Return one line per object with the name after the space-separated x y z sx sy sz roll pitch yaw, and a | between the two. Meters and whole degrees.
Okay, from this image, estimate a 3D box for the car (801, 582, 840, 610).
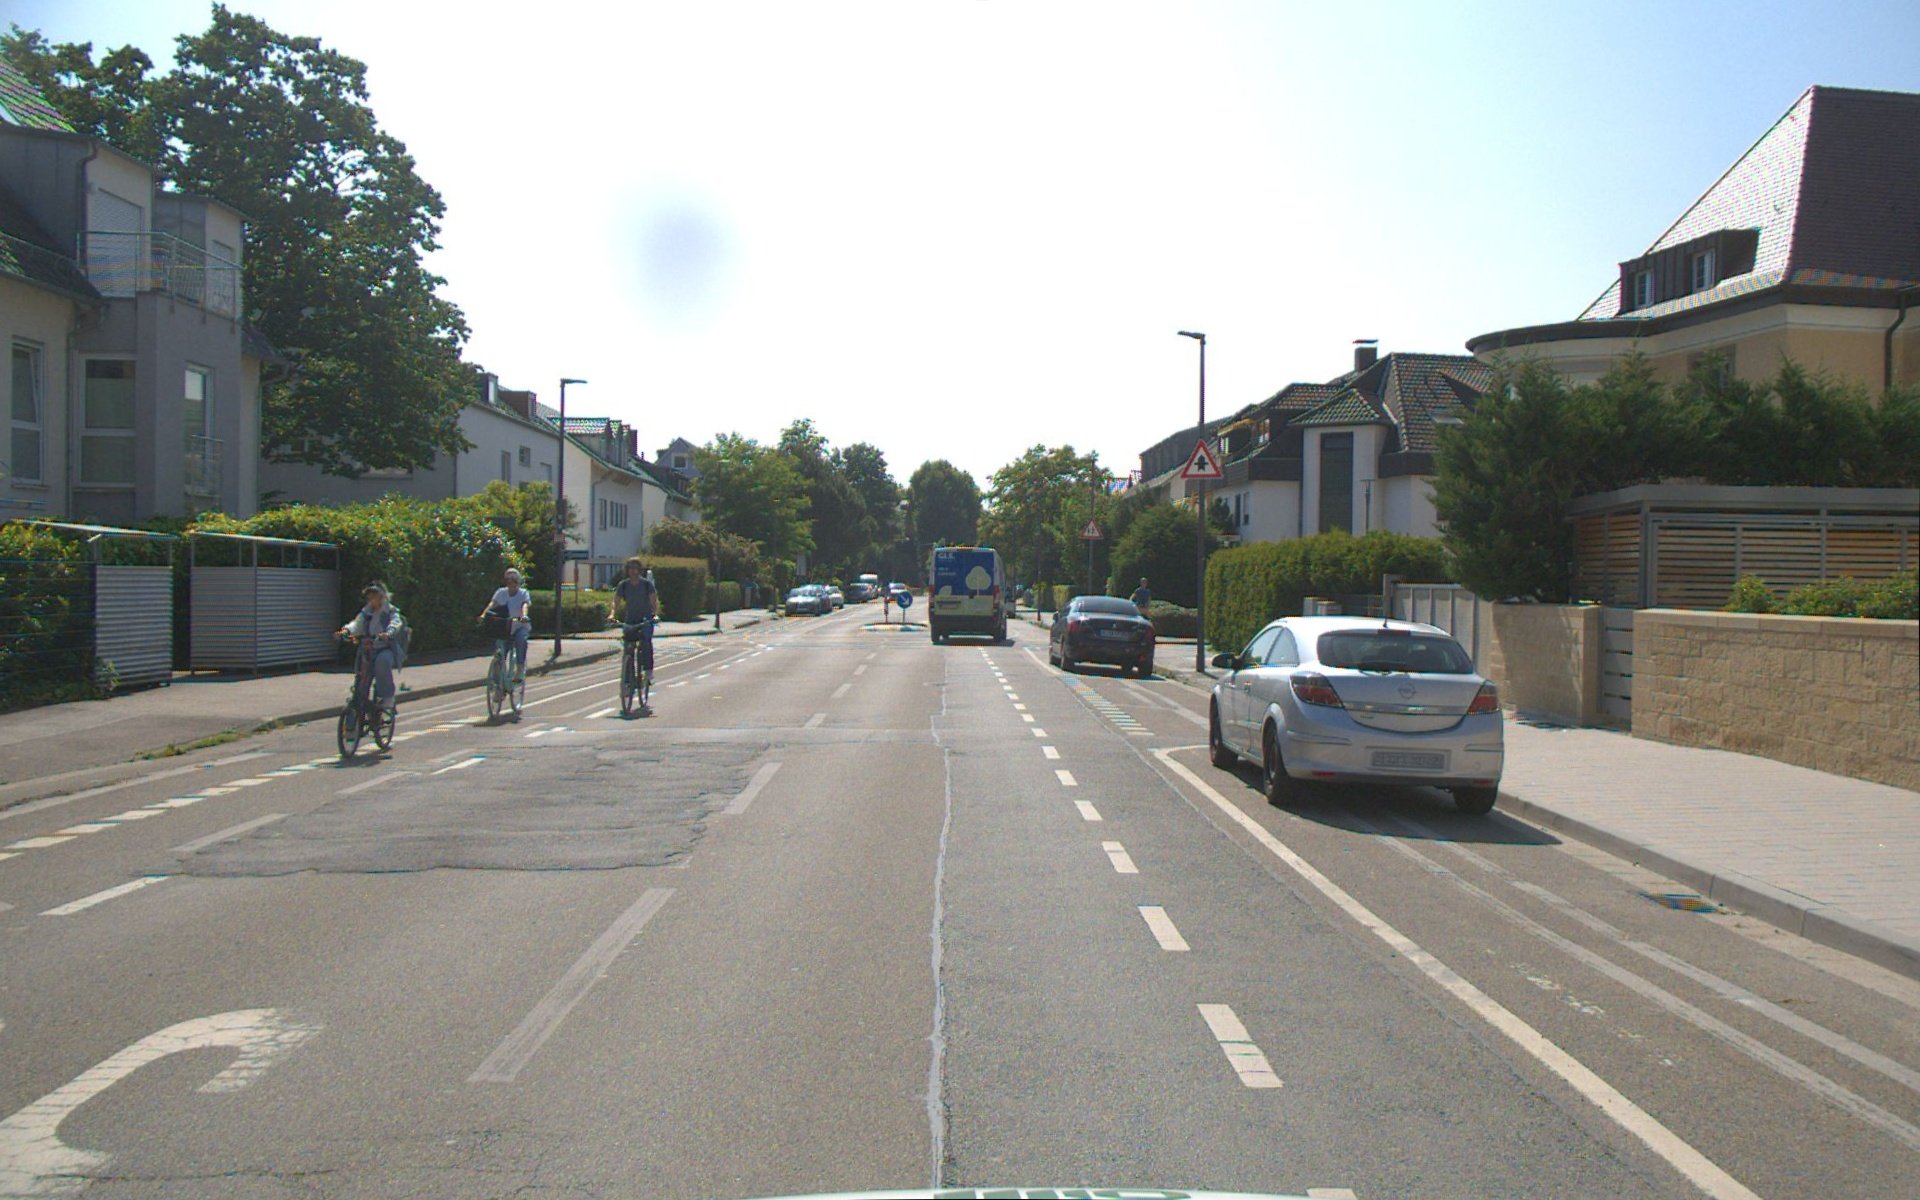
-7.644 -0.221 90.825 1.748 1.465 4.111 0 1 1 | car

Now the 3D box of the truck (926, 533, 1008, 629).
0.222 -0.544 47.770 2.225 2.616 4.393 1 0 1 | truck

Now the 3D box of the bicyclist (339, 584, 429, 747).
-5.421 0.592 15.604 0.480 1.479 0.964 -1 0 0 | bicyclist

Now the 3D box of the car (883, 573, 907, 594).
-5.533 -1.422 141.519 1.875 1.695 4.506 -1 0 0 | car

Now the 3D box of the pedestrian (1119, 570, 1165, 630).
5.764 -0.007 52.510 0.891 1.905 1.175 1 0 -34 | pedestrian

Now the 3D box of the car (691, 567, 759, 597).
-14.448 -1.121 101.998 3.906 1.790 2.000 1 1 -1 | car

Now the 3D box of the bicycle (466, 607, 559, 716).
-5.365 0.707 19.948 0.548 1.206 2.036 -1 0 0 | bicycle

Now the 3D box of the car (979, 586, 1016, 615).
1.943 0.032 87.677 1.705 1.427 4.071 1 -1 -2 | car

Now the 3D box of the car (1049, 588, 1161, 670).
2.789 0.518 32.645 1.702 1.352 4.259 4 1 -1 | car

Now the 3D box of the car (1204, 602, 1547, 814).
3.186 0.763 13.519 1.701 1.352 4.076 4 0 0 | car

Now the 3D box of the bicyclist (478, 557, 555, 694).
-5.365 0.301 20.051 0.662 1.608 0.859 -1 0 -1 | bicyclist

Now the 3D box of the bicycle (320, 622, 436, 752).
-5.428 0.785 15.490 0.588 1.124 1.346 -1 0 0 | bicycle

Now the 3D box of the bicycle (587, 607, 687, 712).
-4.022 0.711 20.803 0.766 1.186 2.420 -1 0 0 | bicycle

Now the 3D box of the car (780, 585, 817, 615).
-8.166 -0.019 84.003 1.750 1.465 4.152 -1 1 -4 | car

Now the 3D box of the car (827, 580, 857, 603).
-7.667 -0.553 107.564 1.749 1.465 3.999 0 1 -2 | car

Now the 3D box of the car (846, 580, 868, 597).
-8.814 -0.997 141.772 1.745 1.485 4.084 0 1 -2 | car

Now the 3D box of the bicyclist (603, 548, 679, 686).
-4.034 0.207 20.960 0.734 1.697 1.022 -1 0 -1 | bicyclist
